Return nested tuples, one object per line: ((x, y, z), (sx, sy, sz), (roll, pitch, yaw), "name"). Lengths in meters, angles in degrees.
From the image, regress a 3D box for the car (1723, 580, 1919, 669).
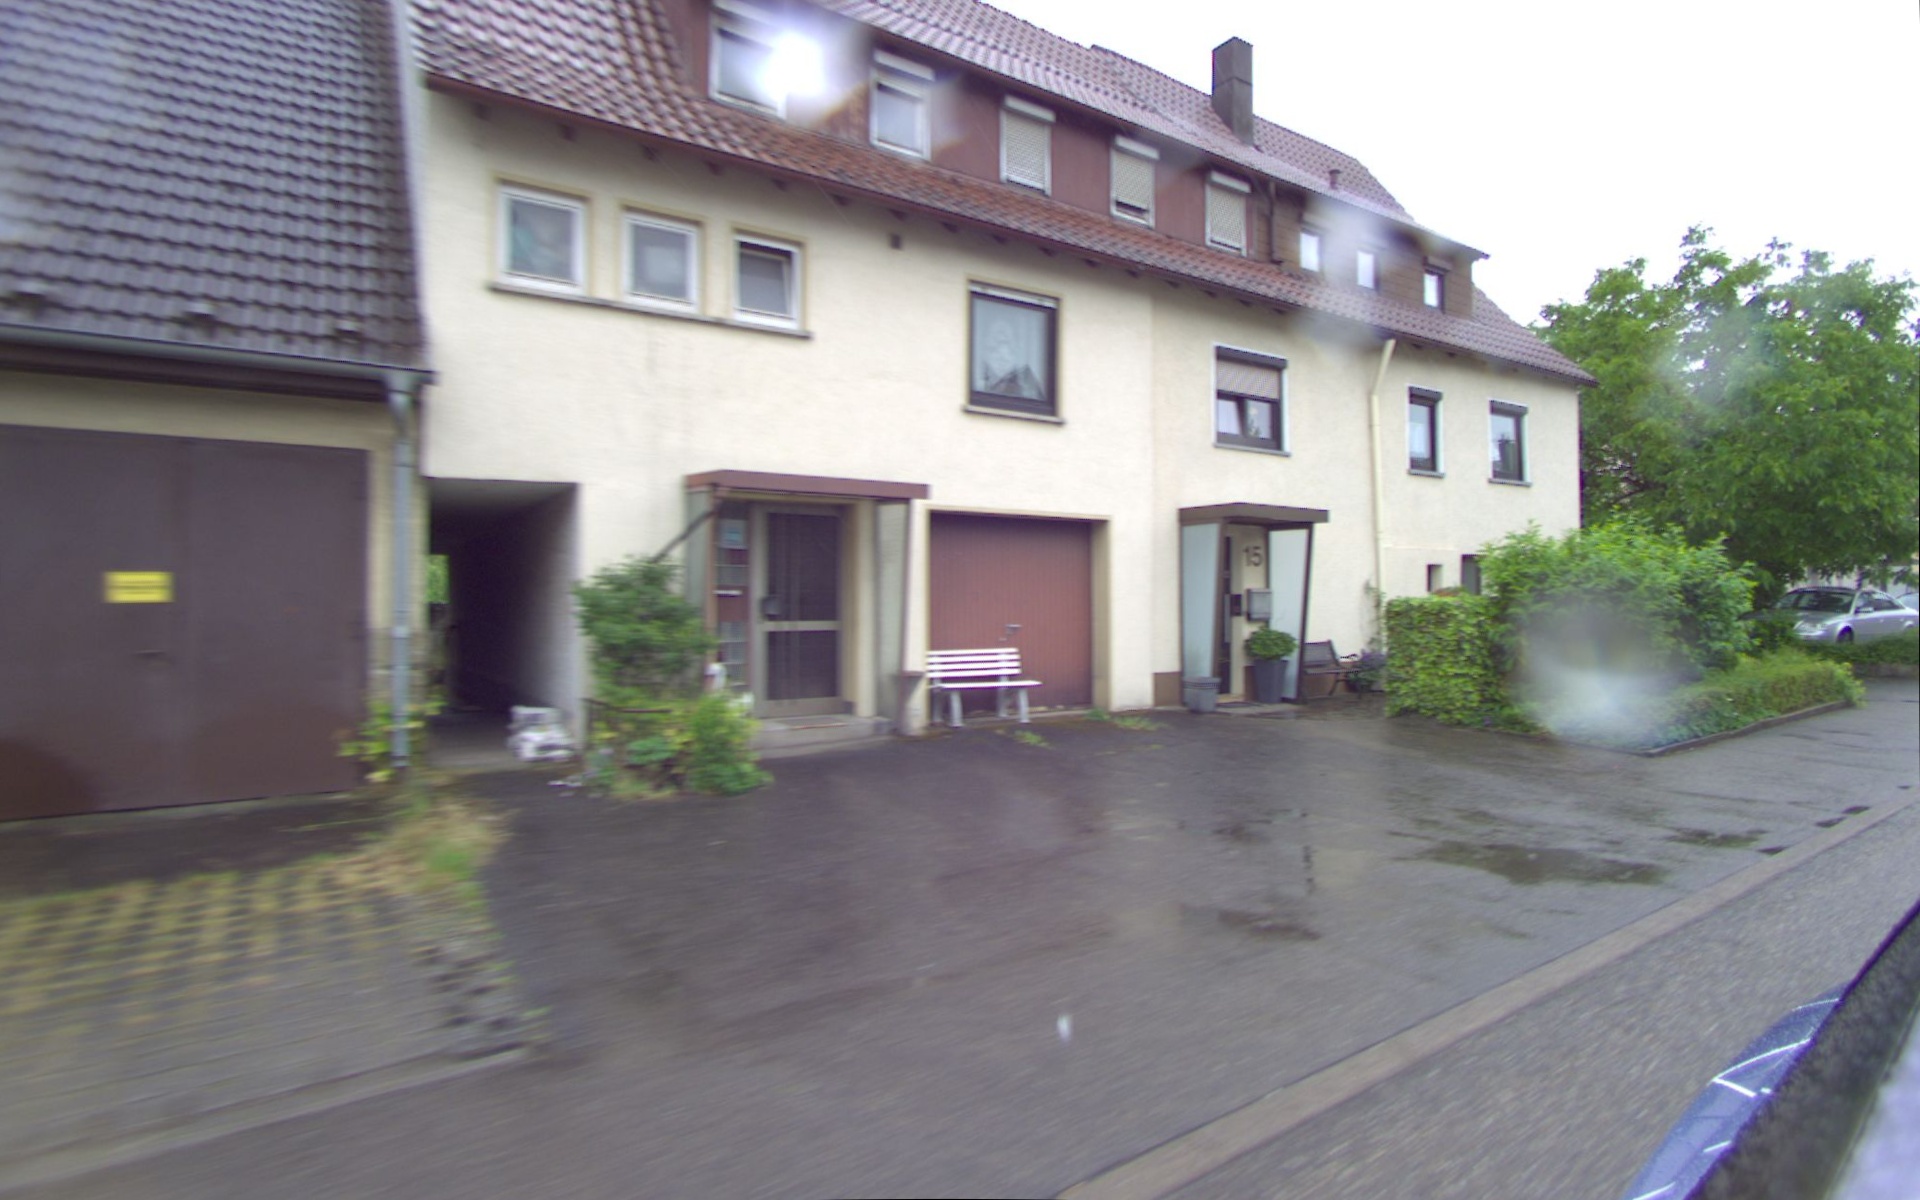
((18.620, 0.472, 21.606), (4.387, 1.733, 1.916), (0, -1, -26), "car")

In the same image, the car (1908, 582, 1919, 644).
((29.234, 0.349, 29.488), (4.000, 1.753, 1.996), (0, -1, -42), "car")
